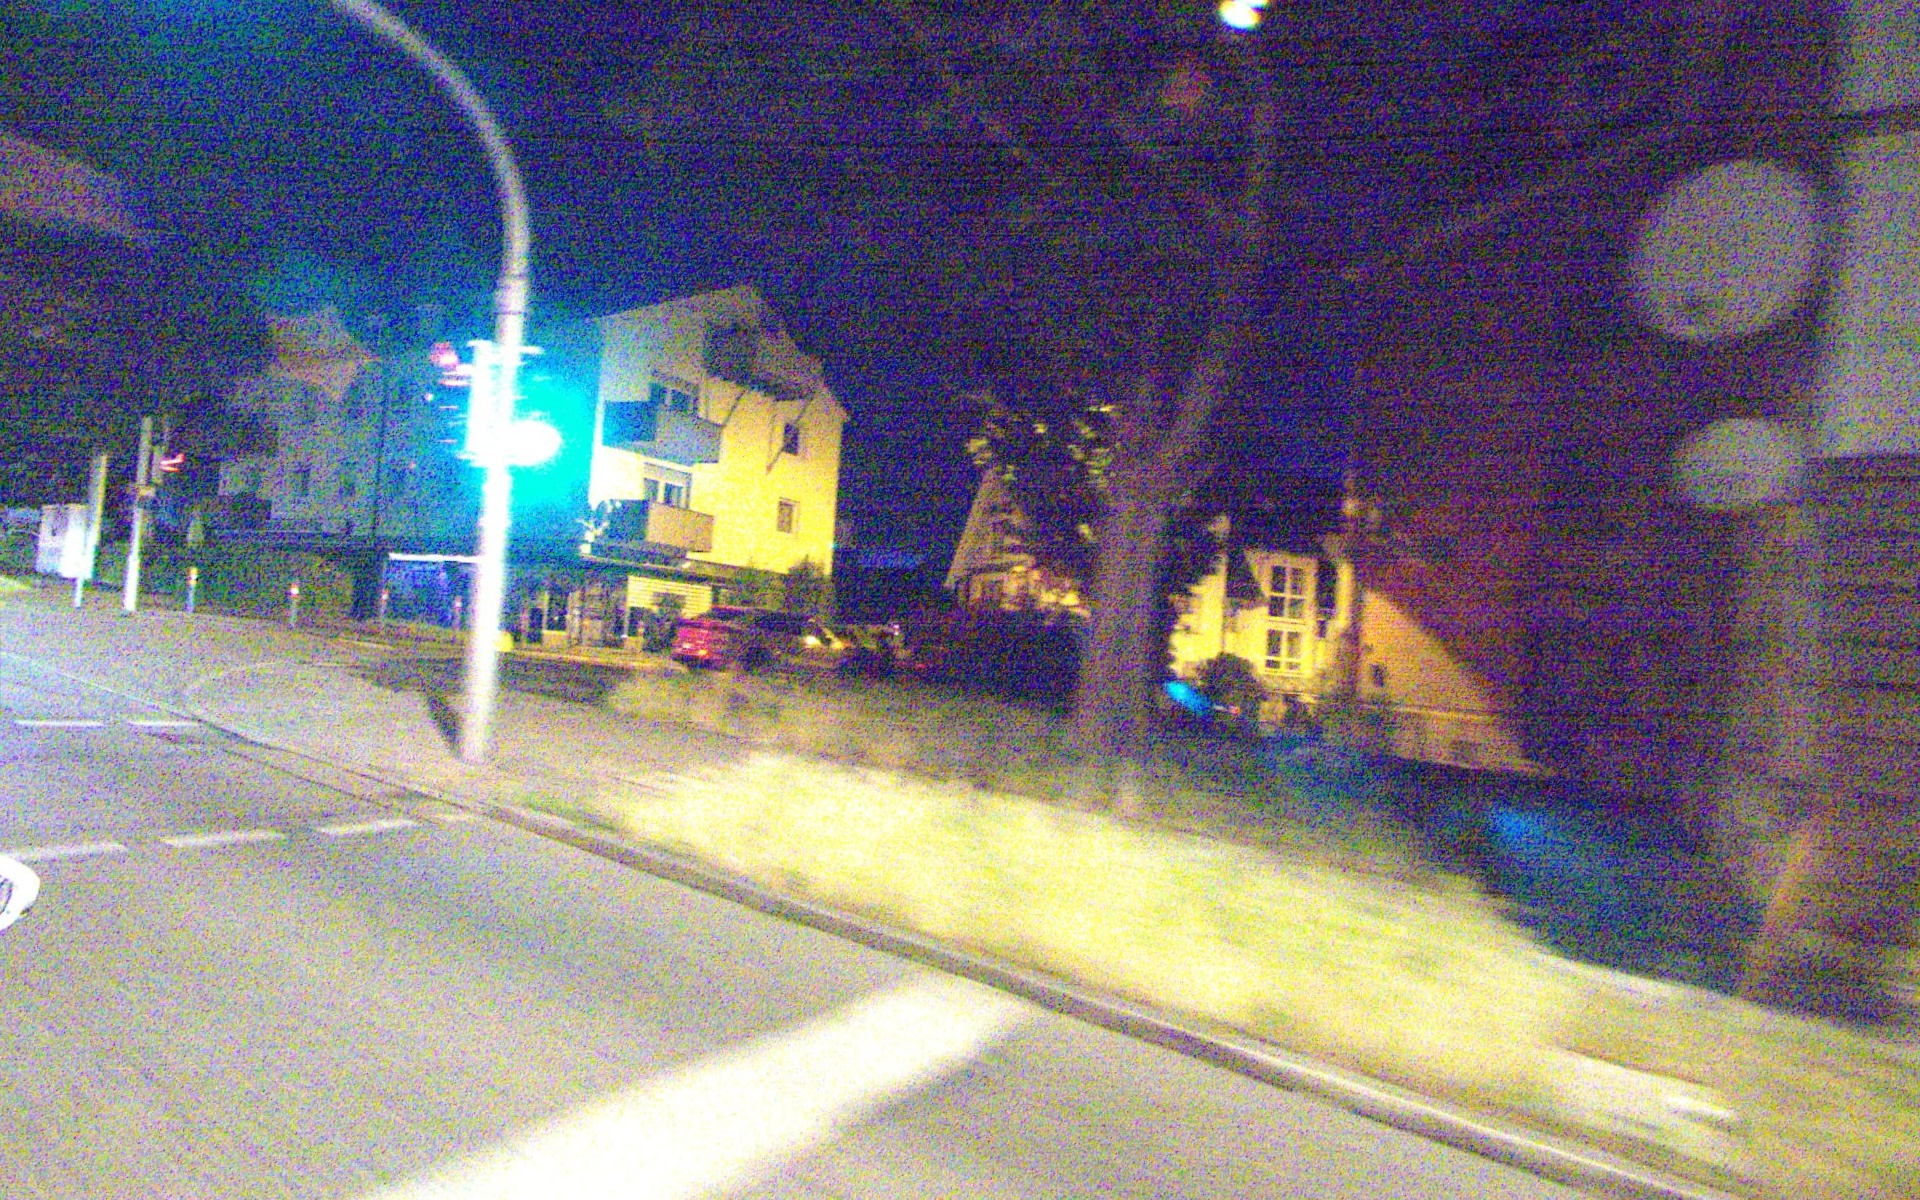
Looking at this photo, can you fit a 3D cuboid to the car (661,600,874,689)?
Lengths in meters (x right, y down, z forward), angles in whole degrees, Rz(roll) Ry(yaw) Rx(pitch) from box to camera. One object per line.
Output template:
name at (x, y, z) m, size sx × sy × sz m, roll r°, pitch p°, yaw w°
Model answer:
car at (-4.044, 1.013, 21.813) m, size 1.778 × 1.577 × 4.366 m, roll 2°, pitch -4°, yaw 39°
